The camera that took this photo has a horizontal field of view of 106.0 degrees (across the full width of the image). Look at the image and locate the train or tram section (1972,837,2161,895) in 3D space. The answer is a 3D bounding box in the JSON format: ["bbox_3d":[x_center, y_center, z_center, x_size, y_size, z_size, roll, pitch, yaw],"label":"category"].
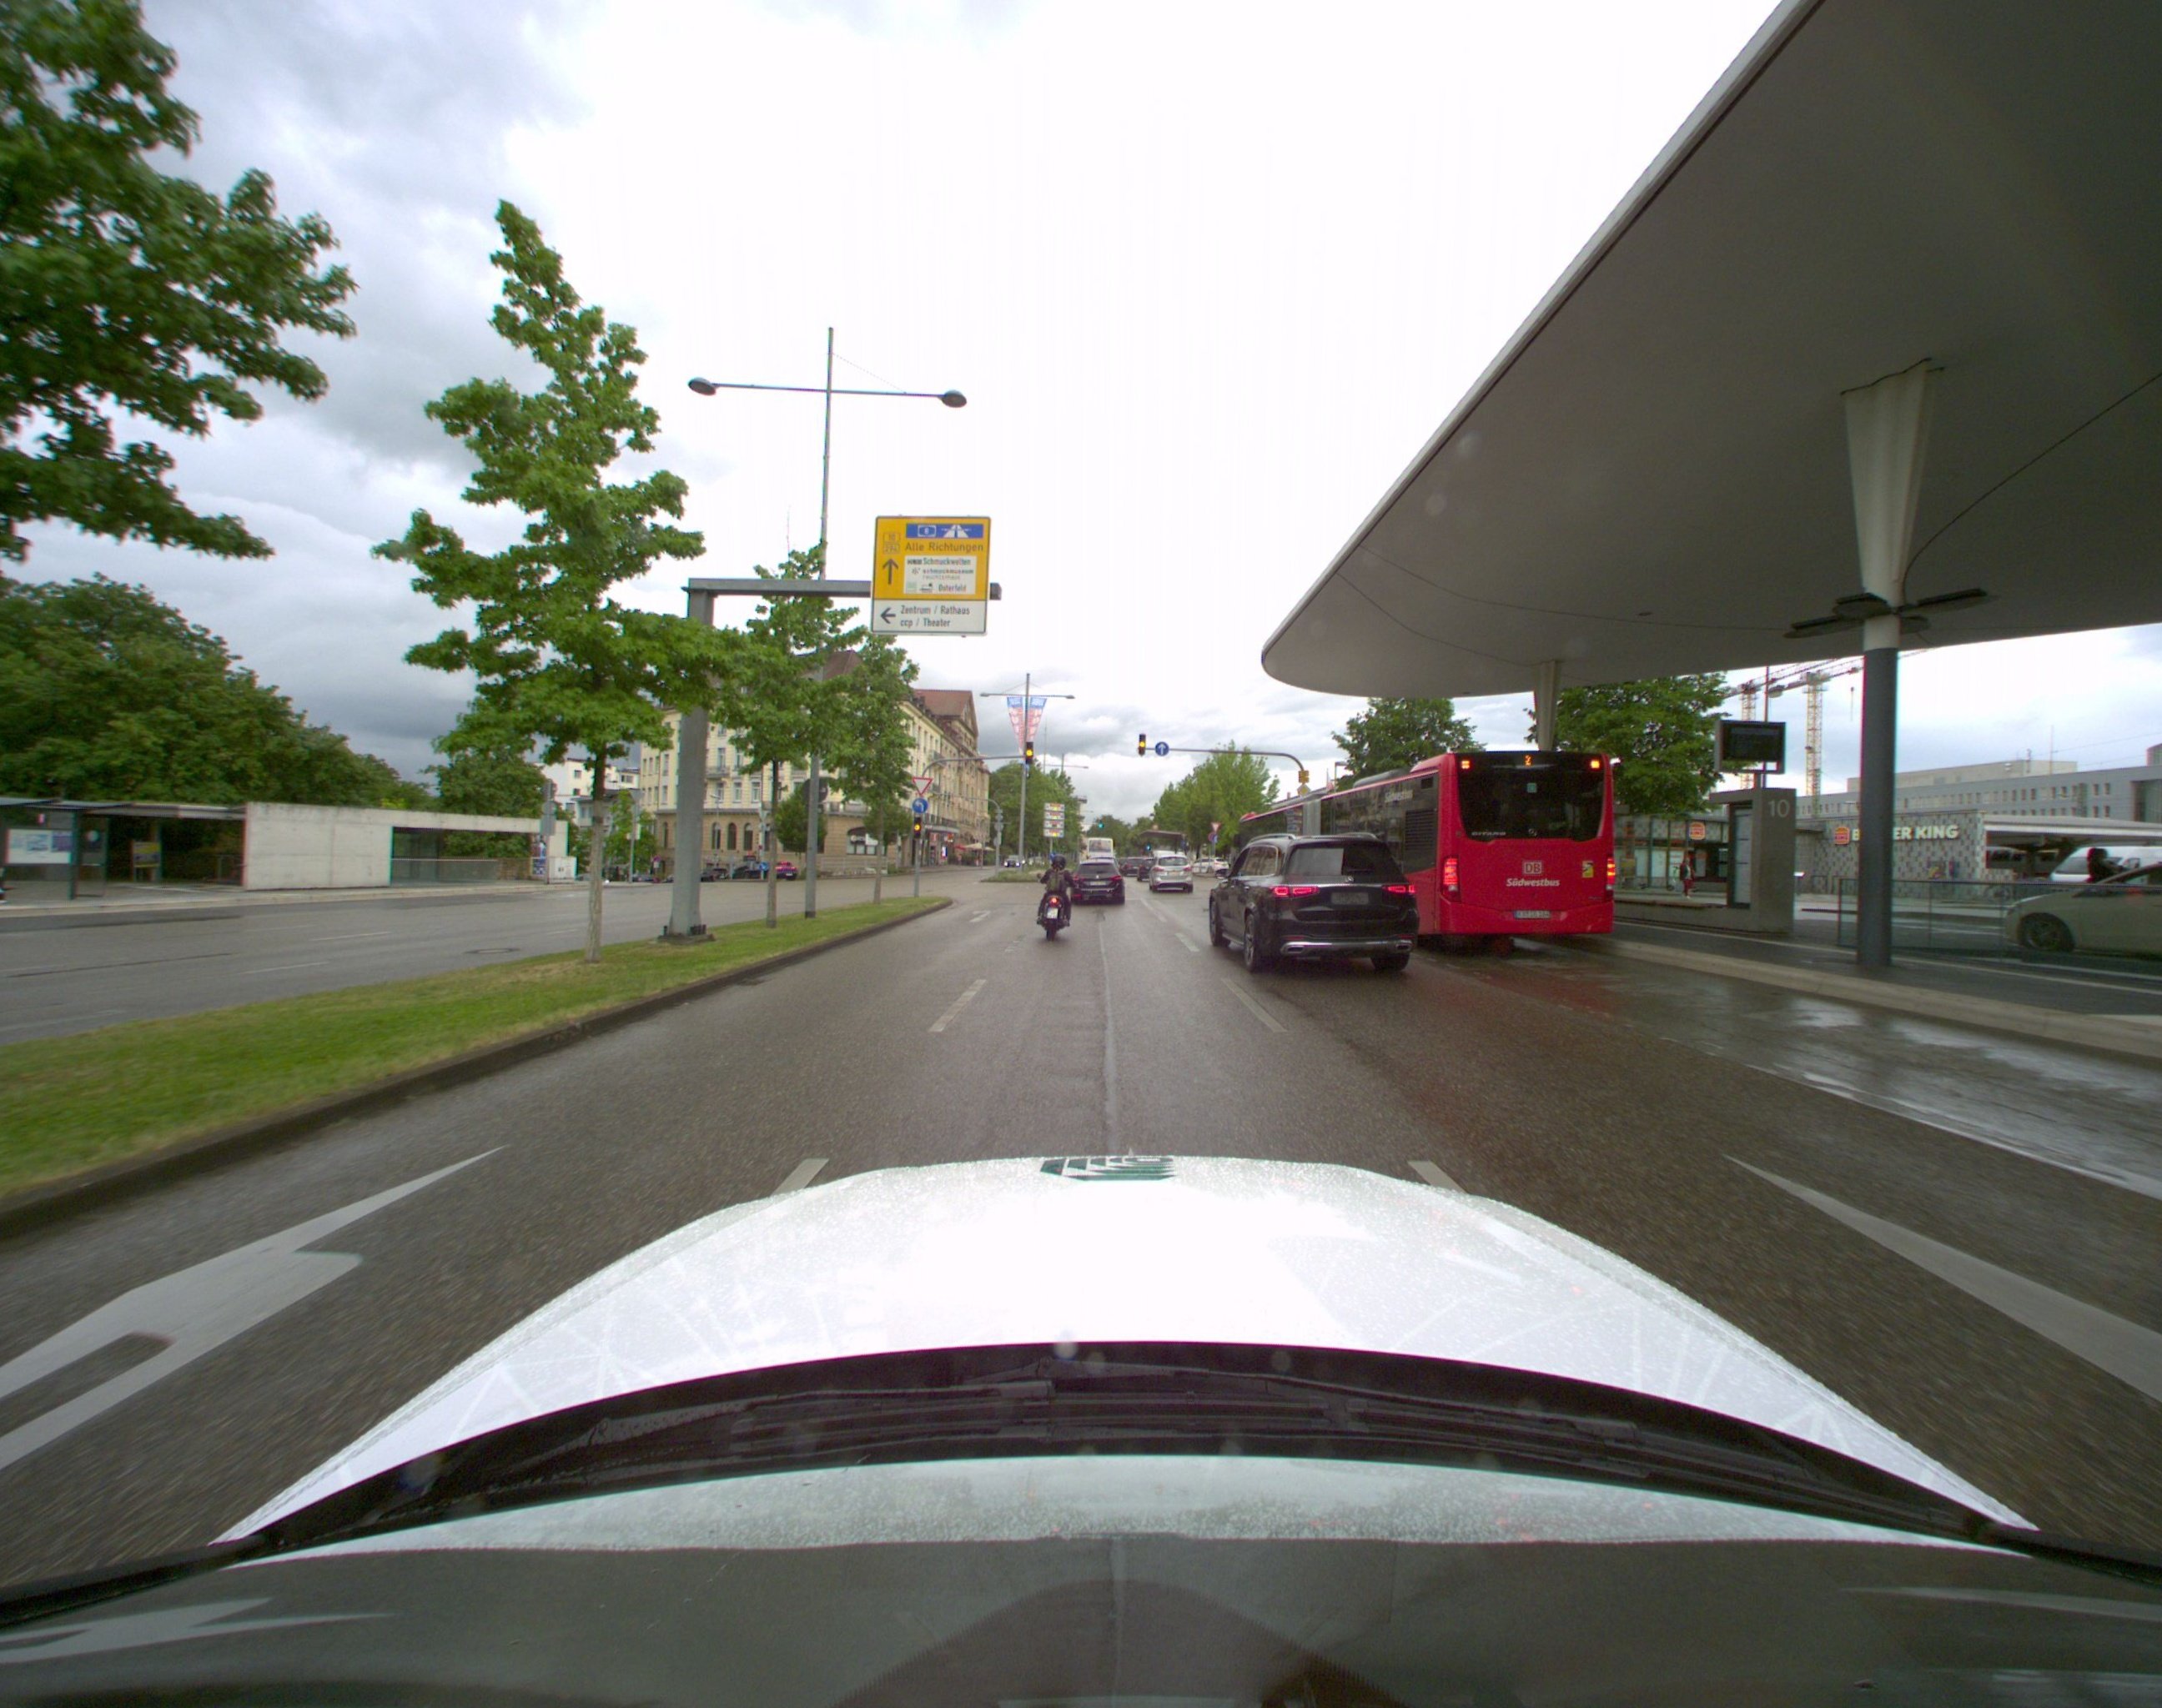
[{"bbox_3d":[71.915,0.864,58.096,3.121,3.659,12.322,4,0,0],"label":"train or tram section"}]

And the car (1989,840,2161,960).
[{"bbox_3d":[15.866,0.657,11.355,1.706,1.662,4.239,2,0,0],"label":"car"}]

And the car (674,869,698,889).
[{"bbox_3d":[-35.364,2.235,72.862,1.668,1.604,3.222,-2,1,-29],"label":"car"}]

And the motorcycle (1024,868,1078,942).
[{"bbox_3d":[-0.527,0.914,15.312,0.789,1.262,1.857,-1,0,4],"label":"motorcycle"}]

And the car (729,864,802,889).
[{"bbox_3d":[-21.988,1.578,56.746,4.362,1.570,1.827,-1,0,10],"label":"car"}]

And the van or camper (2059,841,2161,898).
[{"bbox_3d":[44.059,0.636,33.779,4.675,2.270,2.108,1,-1,-4],"label":"van or camper"}]

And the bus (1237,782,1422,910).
[{"bbox_3d":[7.228,-0.182,25.336,3.279,3.289,8.852,0,0,2],"label":"bus"}]

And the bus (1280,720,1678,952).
[{"bbox_3d":[6.969,-0.224,16.991,3.274,3.292,10.881,0,0,2],"label":"bus"}]

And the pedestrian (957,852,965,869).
[{"bbox_3d":[-13.980,0.788,94.833,0.727,2.014,0.819,0,-1,-26],"label":"pedestrian"}]

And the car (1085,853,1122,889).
[{"bbox_3d":[1.013,0.744,37.630,1.570,1.567,3.871,-1,0,1],"label":"car"}]

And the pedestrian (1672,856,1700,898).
[{"bbox_3d":[23.992,0.921,32.305,0.601,1.579,0.674,4,-4,7],"label":"pedestrian"}]

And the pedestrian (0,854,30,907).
[{"bbox_3d":[-27.661,0.665,20.700,0.967,1.267,0.854,4,1,21],"label":"pedestrian"}]

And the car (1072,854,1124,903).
[{"bbox_3d":[0.595,0.782,27.418,1.570,1.504,3.872,-1,0,2],"label":"car"}]

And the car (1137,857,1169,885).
[{"bbox_3d":[4.285,0.970,48.763,1.570,1.567,3.871,-1,0,1],"label":"car"}]

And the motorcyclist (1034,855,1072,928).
[{"bbox_3d":[-0.528,0.689,15.389,0.638,1.347,0.689,0,-1,4],"label":"motorcyclist"}]

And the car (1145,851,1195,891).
[{"bbox_3d":[3.736,0.676,34.804,1.735,1.567,3.871,-1,0,1],"label":"car"}]

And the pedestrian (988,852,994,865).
[{"bbox_3d":[-12.692,0.607,114.839,0.555,1.778,0.502,-1,-1,36],"label":"pedestrian"}]

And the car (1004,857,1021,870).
[{"bbox_3d":[-8.620,1.180,102.514,1.774,1.567,3.430,-1,0,1],"label":"car"}]

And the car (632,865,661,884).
[{"bbox_3d":[-37.191,1.746,69.666,1.849,1.628,3.667,1,-1,-33],"label":"car"}]

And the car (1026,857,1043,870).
[{"bbox_3d":[-5.694,1.156,100.751,1.774,1.567,3.430,-1,0,1],"label":"car"}]

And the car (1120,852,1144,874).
[{"bbox_3d":[3.788,0.655,61.166,1.570,1.567,3.796,-1,0,1],"label":"car"}]

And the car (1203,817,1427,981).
[{"bbox_3d":[3.125,0.538,12.039,1.950,1.876,4.874,-1,0,1],"label":"car"}]

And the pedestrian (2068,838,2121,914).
[{"bbox_3d":[21.998,0.472,17.684,0.574,1.579,0.778,1,-6,41],"label":"pedestrian"}]

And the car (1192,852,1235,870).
[{"bbox_3d":[12.237,0.655,75.339,1.588,1.567,3.752,-1,0,-38],"label":"car"}]

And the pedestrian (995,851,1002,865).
[{"bbox_3d":[-11.583,0.528,113.969,0.727,1.966,0.819,0,-1,-26],"label":"pedestrian"}]

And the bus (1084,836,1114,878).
[{"bbox_3d":[1.819,0.399,83.473,2.828,3.988,11.862,0,-1,1],"label":"bus"}]

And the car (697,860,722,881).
[{"bbox_3d":[-31.714,1.399,69.513,1.668,1.604,3.223,-2,1,-28],"label":"car"}]
